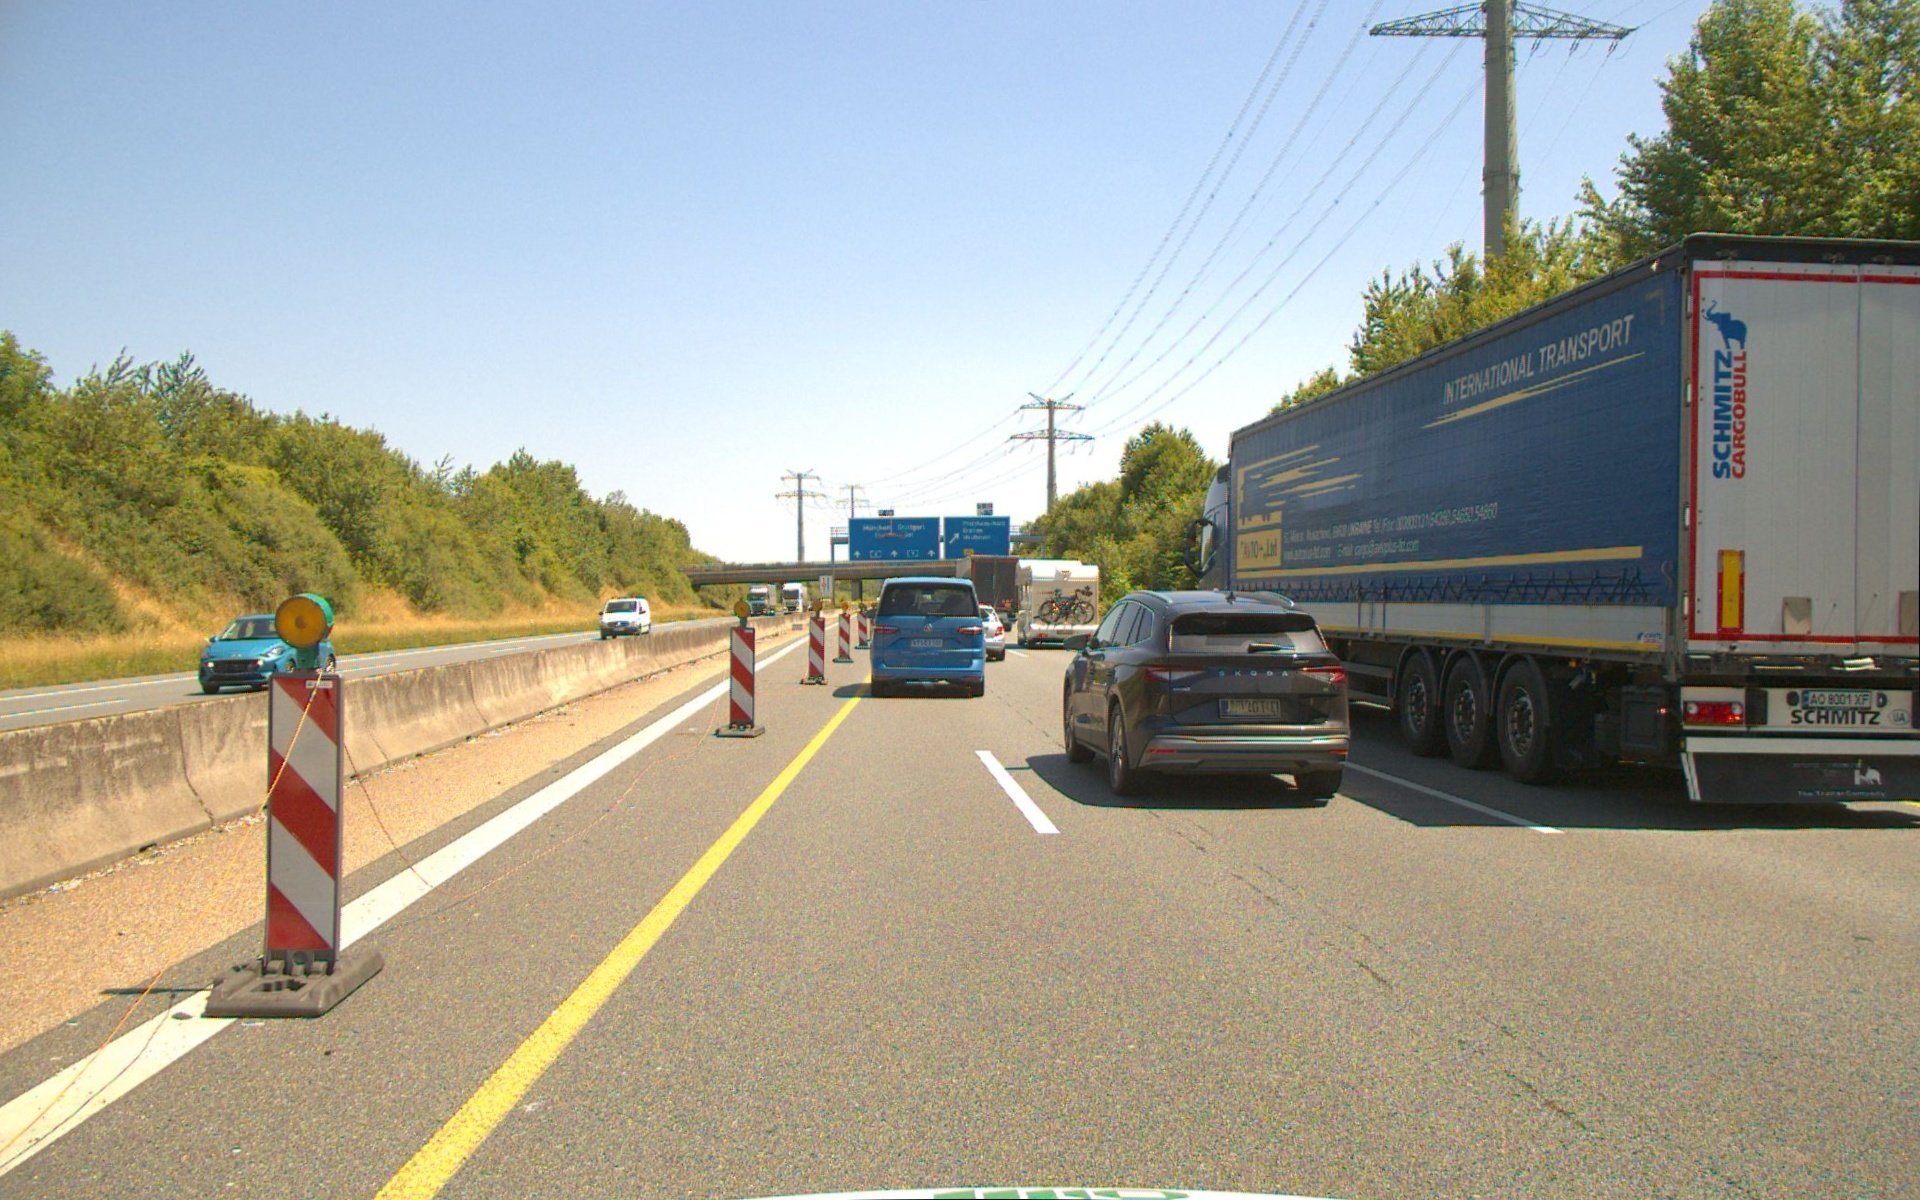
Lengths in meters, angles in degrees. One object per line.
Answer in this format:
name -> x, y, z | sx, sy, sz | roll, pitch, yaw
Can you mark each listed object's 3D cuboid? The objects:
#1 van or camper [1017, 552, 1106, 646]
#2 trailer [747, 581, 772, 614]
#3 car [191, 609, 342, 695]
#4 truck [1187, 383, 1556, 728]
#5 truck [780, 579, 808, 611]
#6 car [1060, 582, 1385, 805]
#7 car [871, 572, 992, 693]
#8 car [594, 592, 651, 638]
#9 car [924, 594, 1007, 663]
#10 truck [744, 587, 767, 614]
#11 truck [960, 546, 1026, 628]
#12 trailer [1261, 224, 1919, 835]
van or camper -> 3.402, -0.027, 56.829 | 2.534, 3.020, 6.082 | 1, 0, -2
trailer -> -27.289, -0.358, 225.659 | 2.431, 4.253, 12.078 | -3, 0, -3
car -> -13.965, 1.003, 33.510 | 1.853, 1.544, 3.475 | -3, 0, -6
truck -> 5.534, -0.534, 23.932 | 2.965, 4.159, 7.789 | 0, 0, -4
truck -> -22.534, -0.658, 224.497 | 3.099, 4.298, 7.413 | -1, 0, -1
car -> 2.064, 0.677, 14.320 | 1.858, 1.620, 4.439 | 1, 0, -3
car -> -0.562, 0.559, 28.045 | 1.858, 1.874, 4.439 | 0, -1, -4
car -> -16.154, 0.706, 79.388 | 1.924, 2.121, 4.935 | -1, 0, -3
car -> 0.092, 0.709, 43.783 | 1.858, 1.535, 4.440 | 2, 2, -3
truck -> -26.879, 0.089, 217.639 | 2.415, 3.345, 6.920 | -3, 0, -3
truck -> 1.725, -0.639, 92.470 | 3.015, 4.219, 13.050 | 1, 0, -1
trailer -> 6.002, -0.479, 16.977 | 3.005, 4.113, 11.478 | 0, 0, -4
